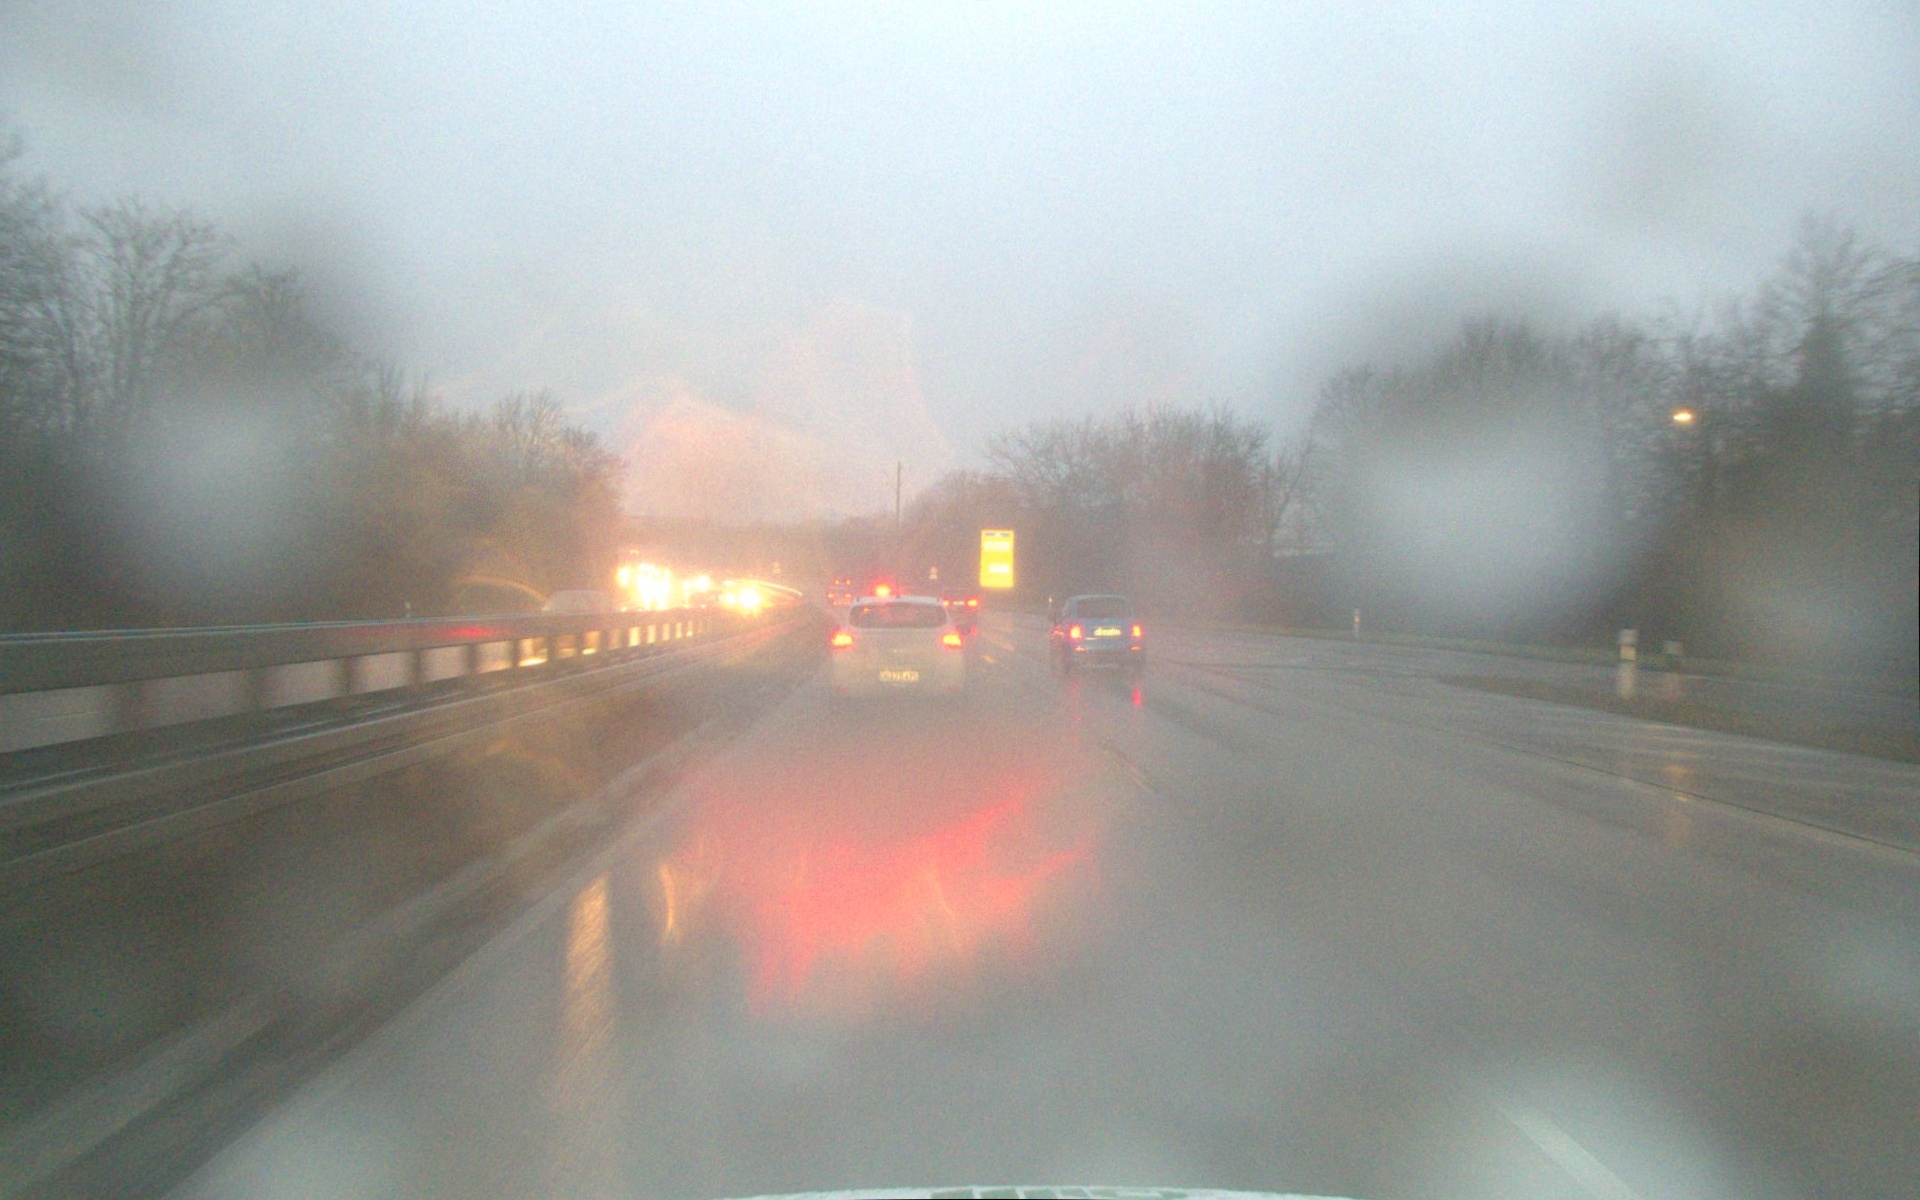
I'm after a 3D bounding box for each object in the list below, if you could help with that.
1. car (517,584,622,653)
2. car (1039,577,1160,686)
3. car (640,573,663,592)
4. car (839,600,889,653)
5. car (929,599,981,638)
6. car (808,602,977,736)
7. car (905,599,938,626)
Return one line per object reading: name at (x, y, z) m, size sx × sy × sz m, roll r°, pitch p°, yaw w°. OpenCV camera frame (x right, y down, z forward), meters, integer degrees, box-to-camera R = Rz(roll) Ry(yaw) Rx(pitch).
car at (-9.178, 0.420, 39.144) m, size 1.702 × 1.521 × 3.841 m, roll 1°, pitch 0°, yaw -3°
car at (2.746, 0.607, 33.349) m, size 1.894 × 2.055 × 3.771 m, roll 1°, pitch 0°, yaw -3°
car at (-30.687, -1.733, 164.689) m, size 1.844 × 1.864 × 4.781 m, roll 1°, pitch 0°, yaw -5°
car at (-3.901, 1.053, 67.475) m, size 1.954 × 2.049 × 3.998 m, roll 1°, pitch 0°, yaw -3°
car at (-0.257, 0.852, 74.598) m, size 1.896 × 1.573 × 3.768 m, roll -5°, pitch -1°, yaw -6°
car at (-0.805, 0.840, 22.164) m, size 1.983 × 1.602 × 4.001 m, roll 1°, pitch 0°, yaw 1°
car at (-2.297, 0.717, 98.047) m, size 1.894 × 1.573 × 3.771 m, roll 1°, pitch 0°, yaw -3°
